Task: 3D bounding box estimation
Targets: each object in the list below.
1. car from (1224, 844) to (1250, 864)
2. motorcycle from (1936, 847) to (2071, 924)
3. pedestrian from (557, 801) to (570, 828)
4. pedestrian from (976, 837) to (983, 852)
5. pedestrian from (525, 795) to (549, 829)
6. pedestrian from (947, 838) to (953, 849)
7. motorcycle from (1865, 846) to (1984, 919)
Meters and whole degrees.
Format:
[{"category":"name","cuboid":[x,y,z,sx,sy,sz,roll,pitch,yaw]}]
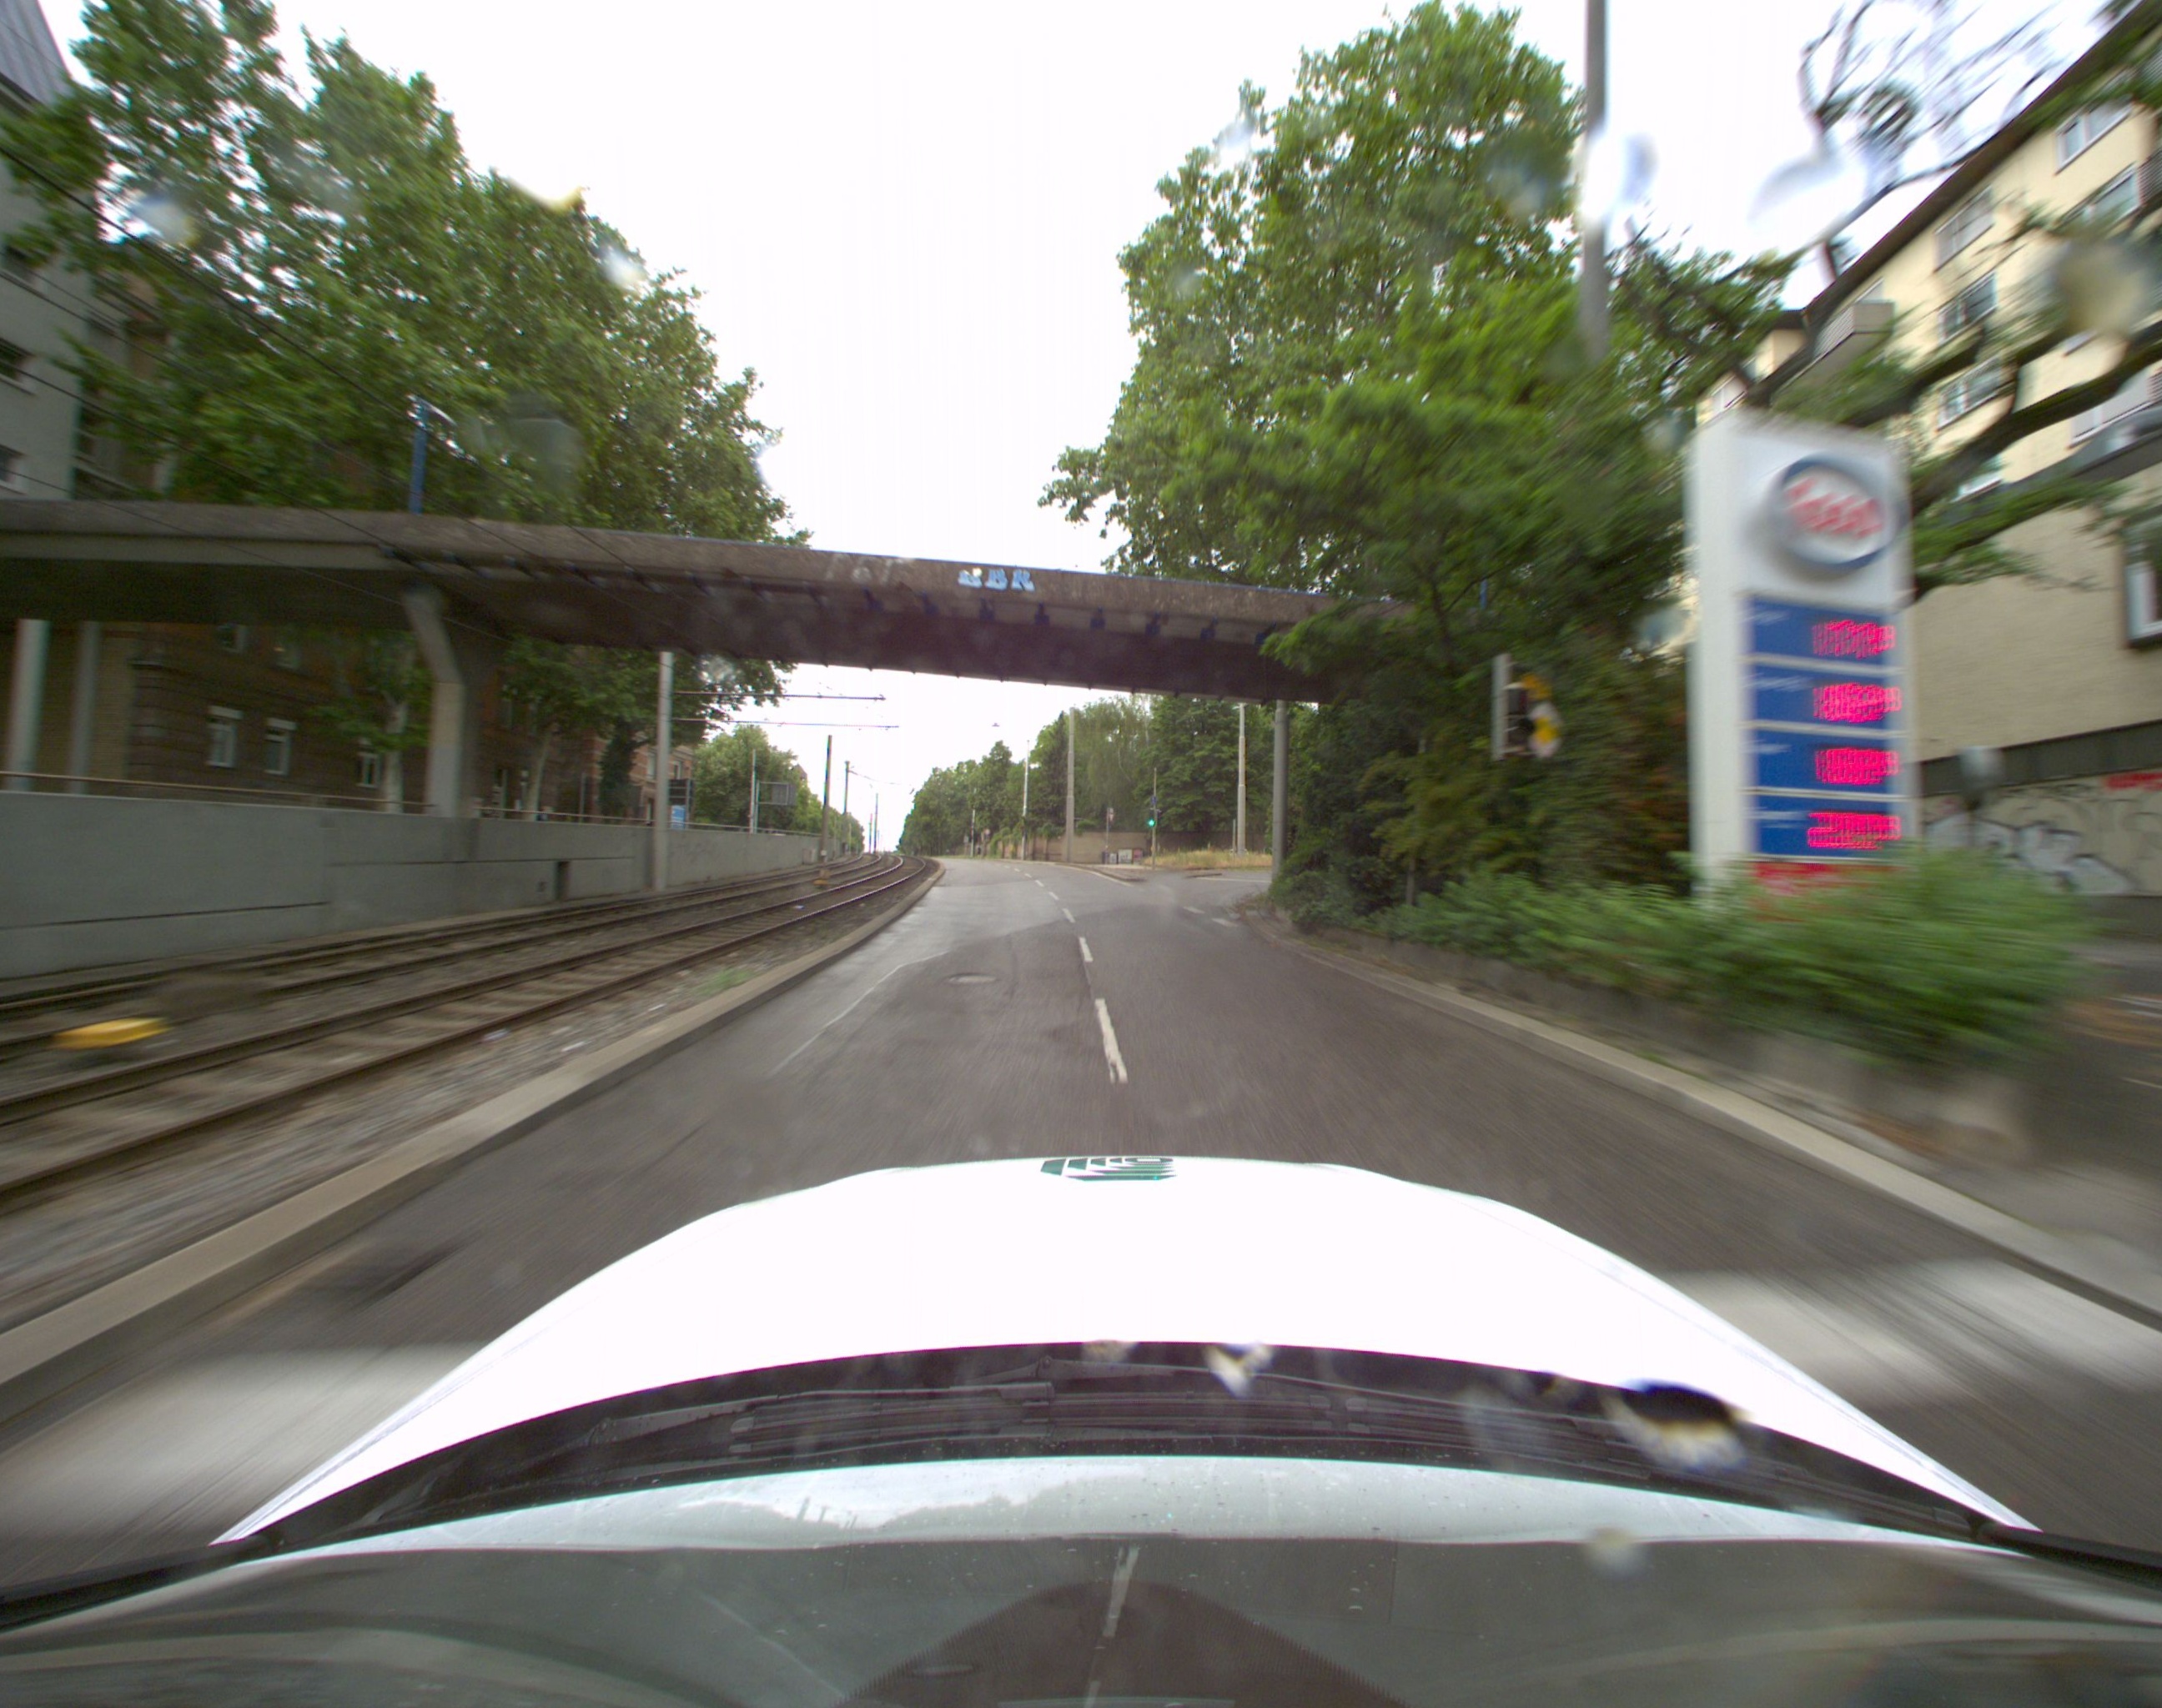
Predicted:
[{"category":"car","cuboid":[11.303,0.016,59.110,1.742,1.406,4.011,0,0,10]},{"category":"motorcycle","cuboid":[15.461,0.498,13.718,0.530,1.190,1.769,-1,1,10]},{"category":"pedestrian","cuboid":[-25.362,-1.928,39.942,0.334,1.334,0.503,0,1,-9]},{"category":"pedestrian","cuboid":[-12.971,-1.178,103.736,0.721,1.850,0.779,3,-1,-14]},{"category":"pedestrian","cuboid":[-26.239,-2.010,39.279,0.590,1.624,0.724,0,1,6]},{"category":"pedestrian","cuboid":[-20.716,-1.631,128.626,0.721,1.687,0.725,3,-1,-14]},{"category":"motorcycle","cuboid":[14.841,0.471,14.388,0.530,1.190,1.769,-1,1,10]}]
